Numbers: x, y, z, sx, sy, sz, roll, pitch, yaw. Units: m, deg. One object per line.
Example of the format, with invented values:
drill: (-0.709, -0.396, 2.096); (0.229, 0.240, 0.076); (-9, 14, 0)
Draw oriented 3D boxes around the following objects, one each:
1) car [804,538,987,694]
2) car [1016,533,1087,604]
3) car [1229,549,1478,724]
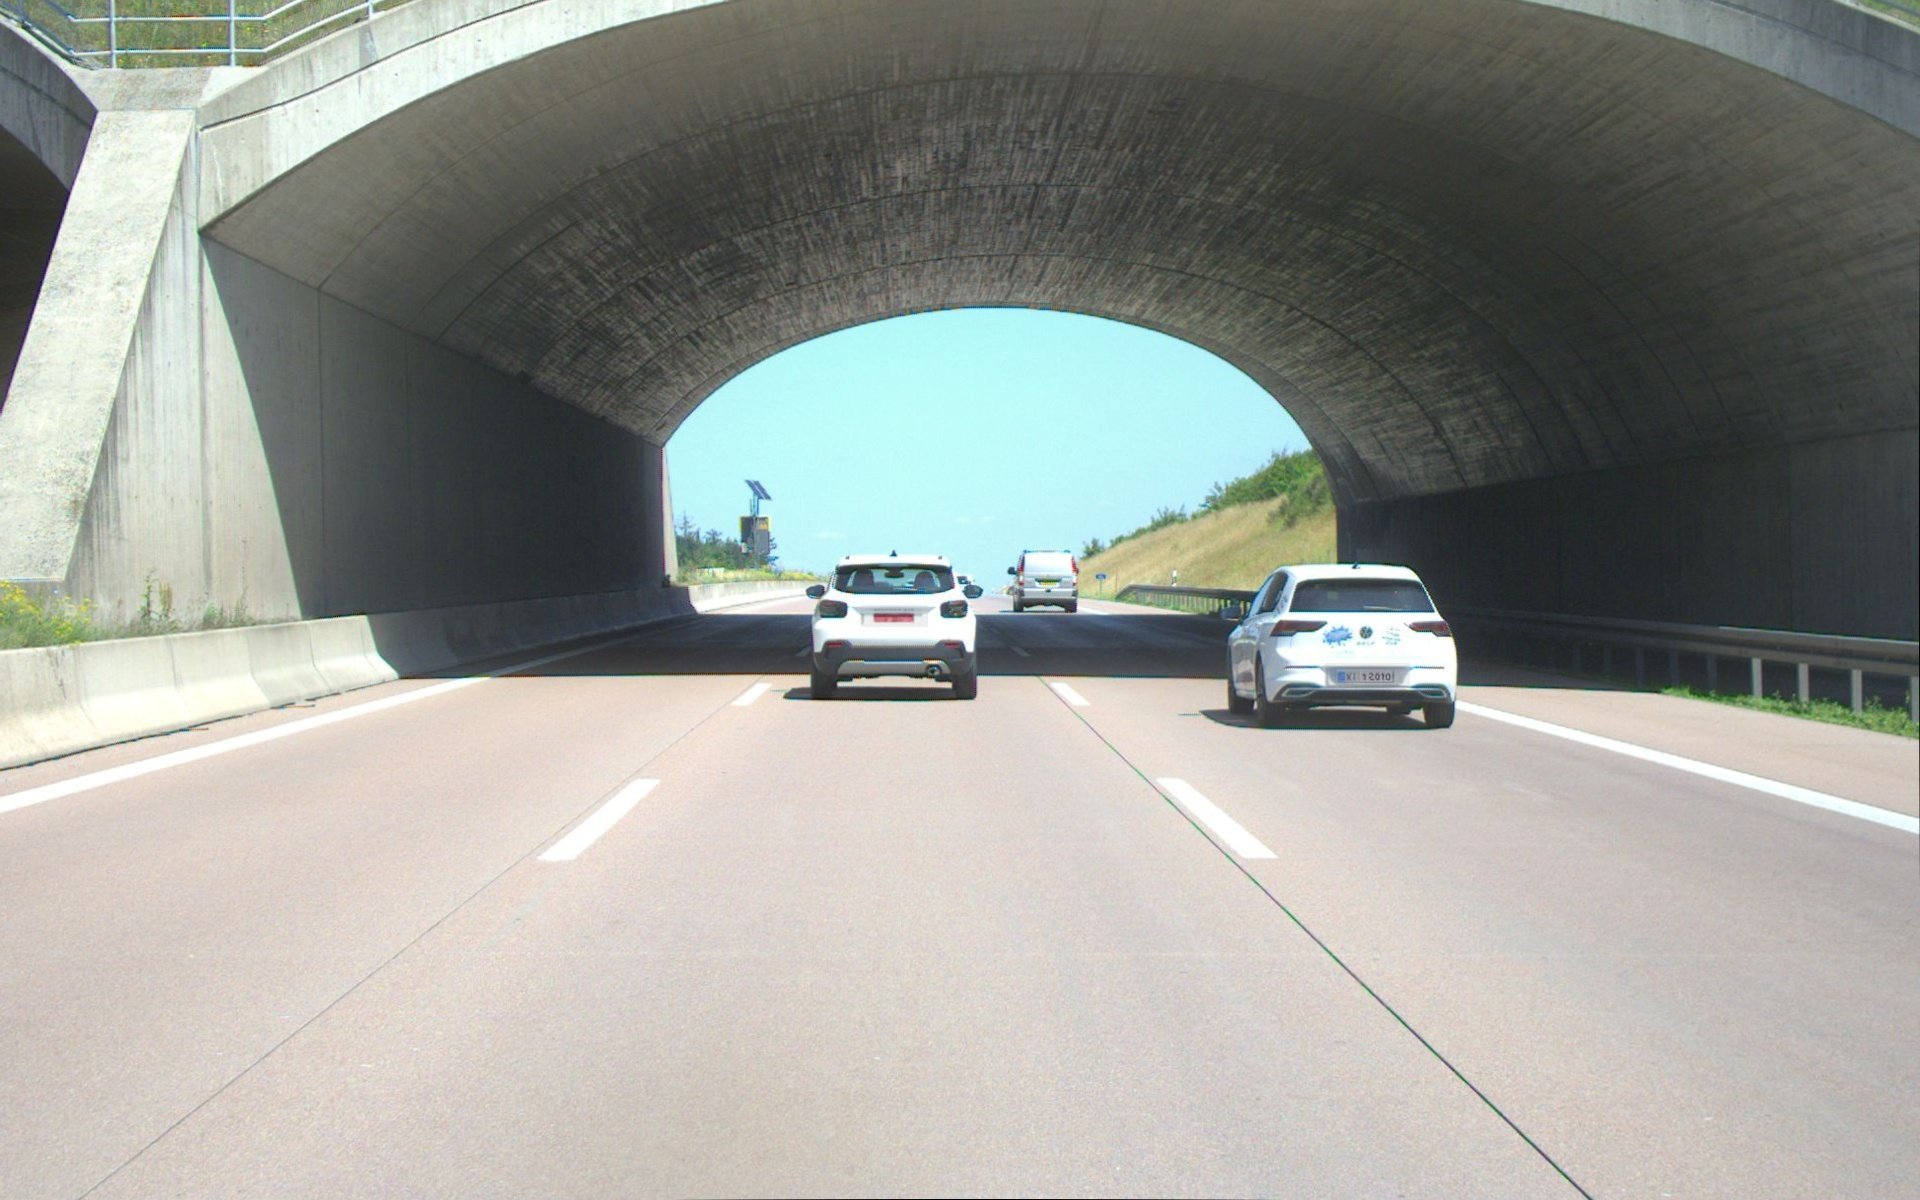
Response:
car: (-0.703, 0.140, 37.932); (1.879, 1.602, 4.834); (0, 1, -1)
car: (2.808, -0.979, 105.937); (2.110, 2.046, 4.000); (0, 2, 1)
car: (3.546, 0.282, 31.639); (1.891, 1.393, 4.000); (1, 2, 1)
